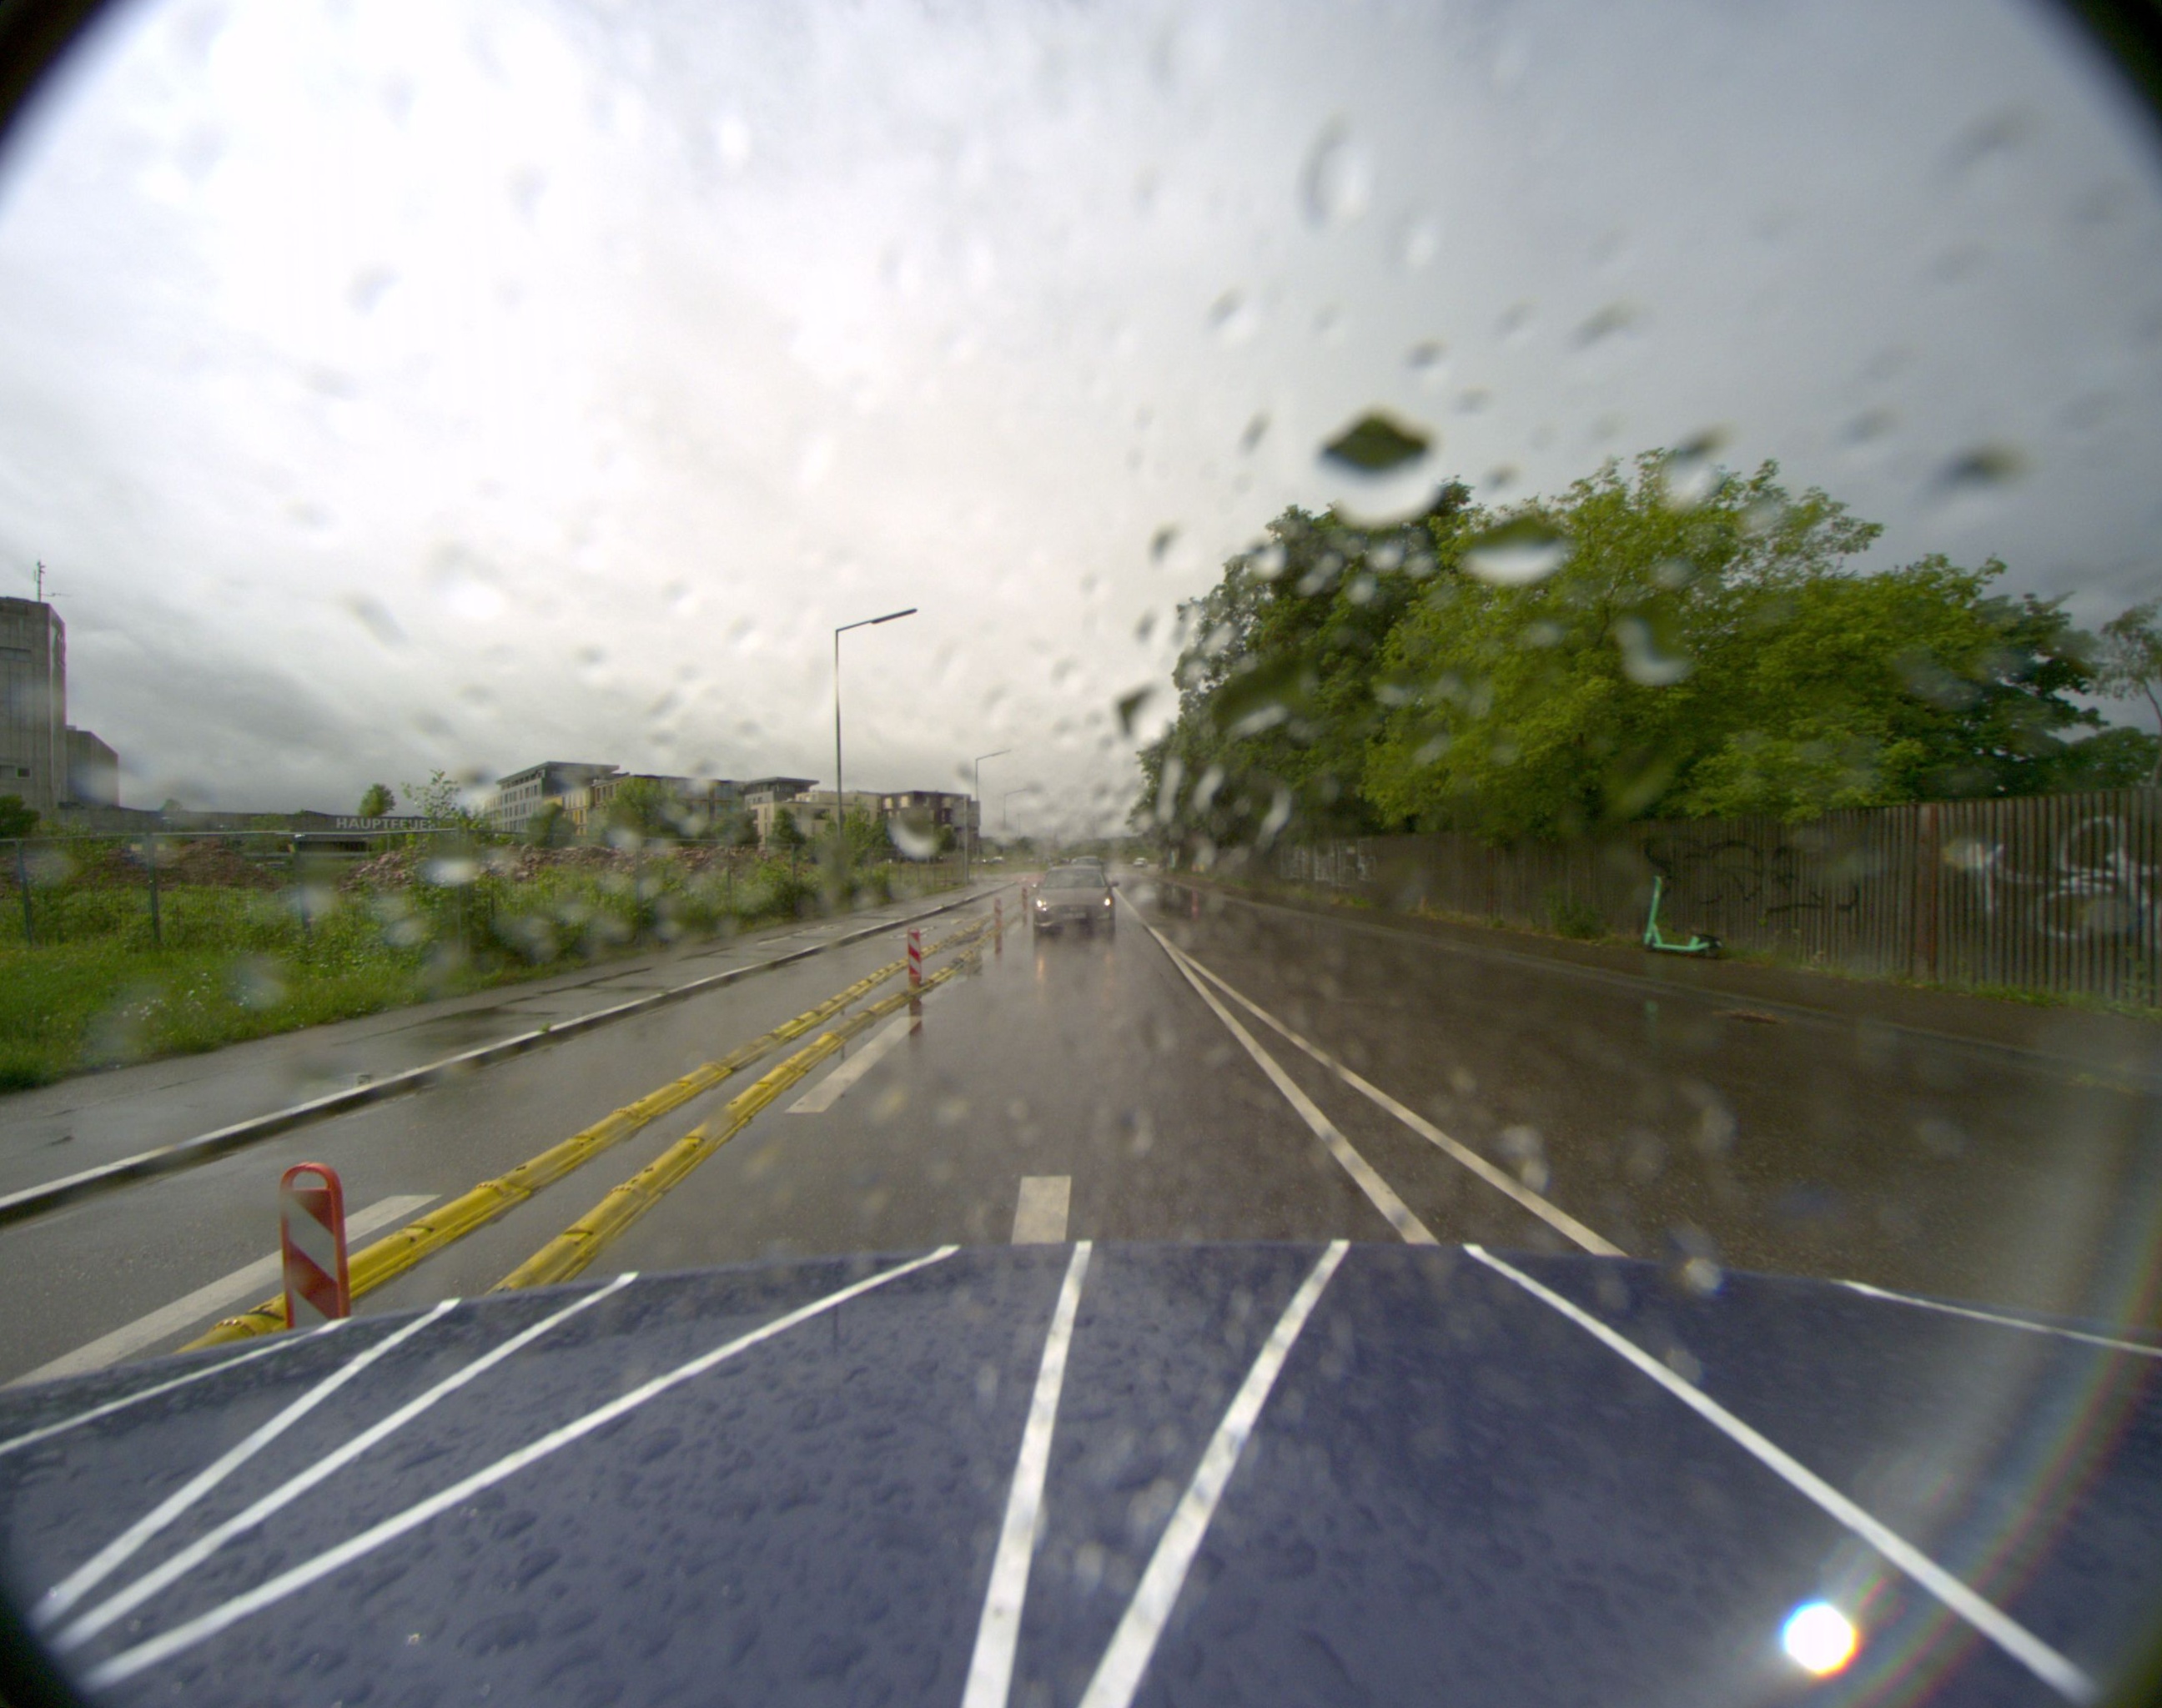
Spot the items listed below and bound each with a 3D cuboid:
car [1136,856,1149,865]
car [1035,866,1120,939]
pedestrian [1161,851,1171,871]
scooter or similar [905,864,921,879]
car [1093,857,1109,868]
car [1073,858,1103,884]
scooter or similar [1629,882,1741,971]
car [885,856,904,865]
[{"bbox_3d":[11.545,1.253,142.280,1.795,1.623,3.821,-1,0,11],"label":"car"},{"bbox_3d":[-0.127,1.021,17.609,1.724,1.423,3.817,-1,0,-2],"label":"car"},{"bbox_3d":[7.507,0.602,66.998,0.841,1.759,0.644,0,1,1],"label":"pedestrian"},{"bbox_3d":[-12.984,1.335,58.724,1.191,1.143,0.484,0,1,34],"label":"scooter or similar"},{"bbox_3d":[3.057,1.252,113.733,1.795,1.623,3.621,-1,0,11],"label":"car"},{"bbox_3d":[0.417,1.021,47.115,1.734,1.539,3.770,-1,0,0],"label":"car"},{"bbox_3d":[8.587,0.999,10.849,0.564,1.156,1.207,-1,0,-6],"label":"scooter or similar"},{"bbox_3d":[-35.814,1.241,146.280,1.644,1.573,3.674,-1,0,24],"label":"car"}]
